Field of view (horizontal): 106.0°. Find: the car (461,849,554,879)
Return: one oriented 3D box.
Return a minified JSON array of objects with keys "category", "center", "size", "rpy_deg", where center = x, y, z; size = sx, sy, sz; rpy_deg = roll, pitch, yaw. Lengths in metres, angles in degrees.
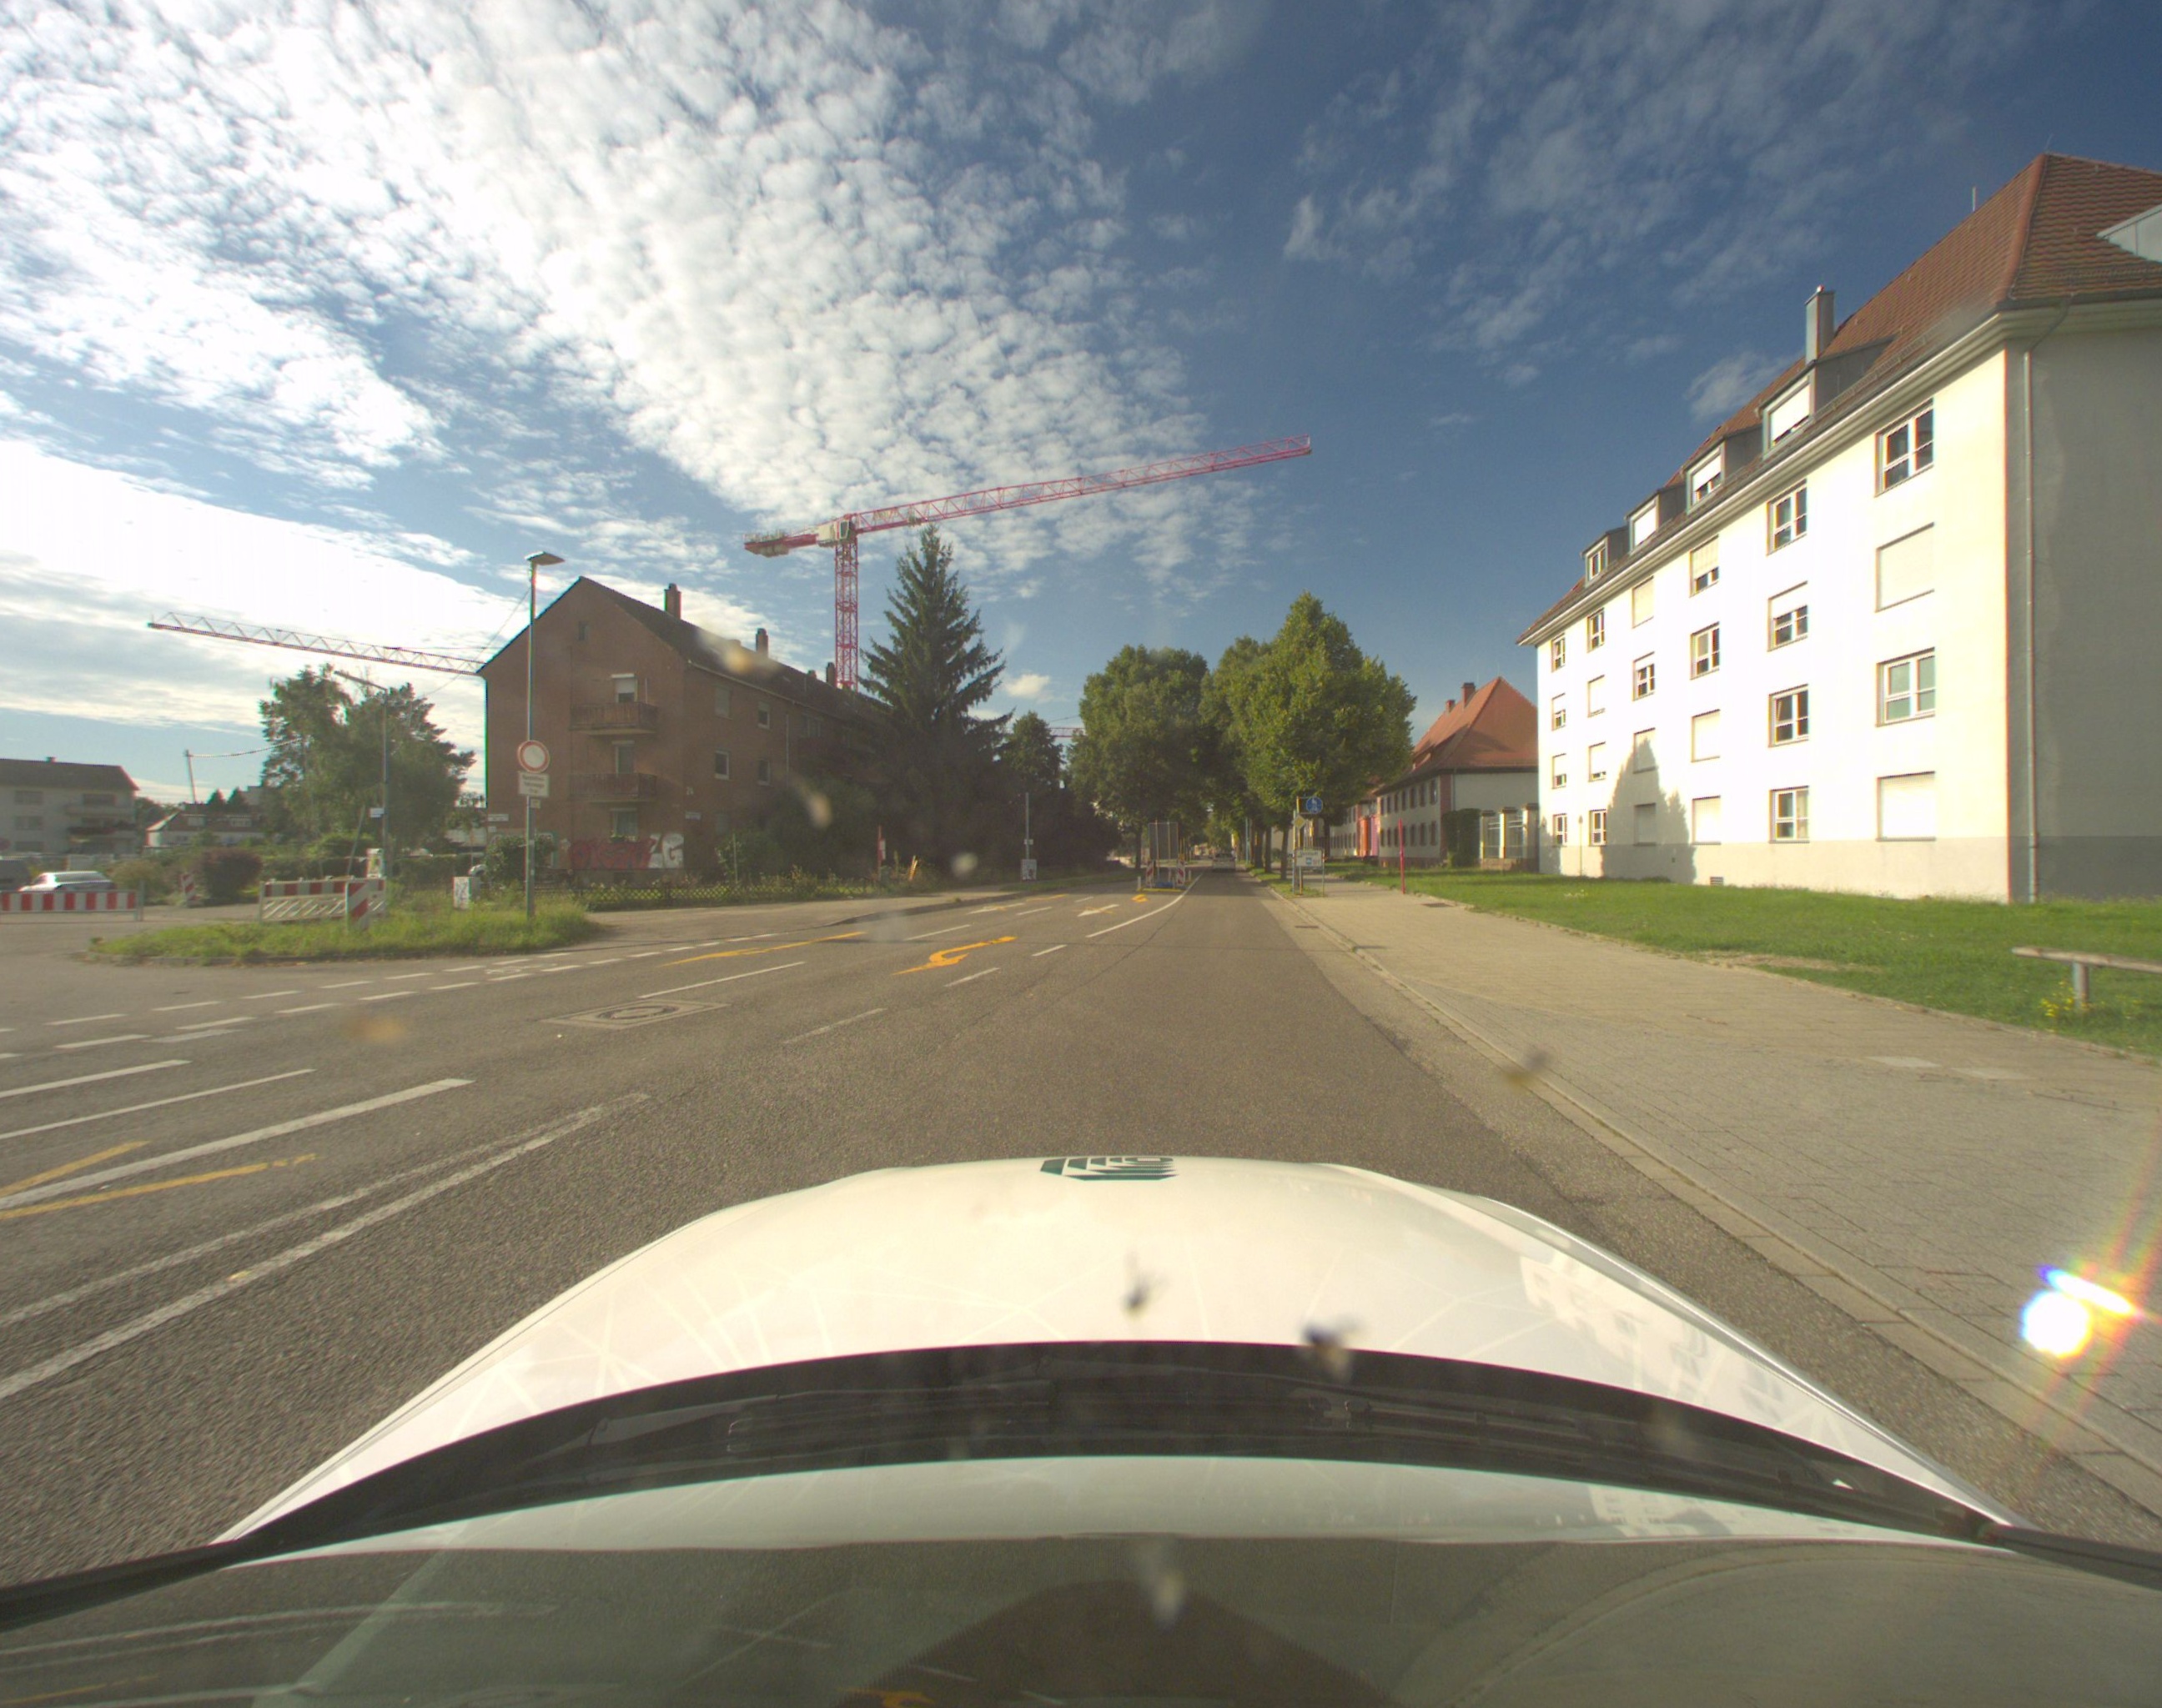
[{"category":"car","center":[-32.090,0.551,45.718],"size":[4.006,1.618,1.759],"rpy_deg":[0,0,-25]}]

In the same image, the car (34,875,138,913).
[{"category":"car","center":[-40.624,1.601,33.236],"size":[3.951,1.393,1.731],"rpy_deg":[0,0,25]}]

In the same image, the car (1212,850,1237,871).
[{"category":"car","center":[11.158,0.504,63.373],"size":[1.840,1.572,4.466],"rpy_deg":[1,0,9]}]

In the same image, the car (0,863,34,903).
[{"category":"car","center":[-50.793,1.327,37.751],"size":[3.951,1.816,1.896],"rpy_deg":[0,0,25]}]

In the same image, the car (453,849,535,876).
[{"category":"car","center":[-35.972,0.499,50.026],"size":[4.017,1.618,1.754],"rpy_deg":[0,0,-36]}]
